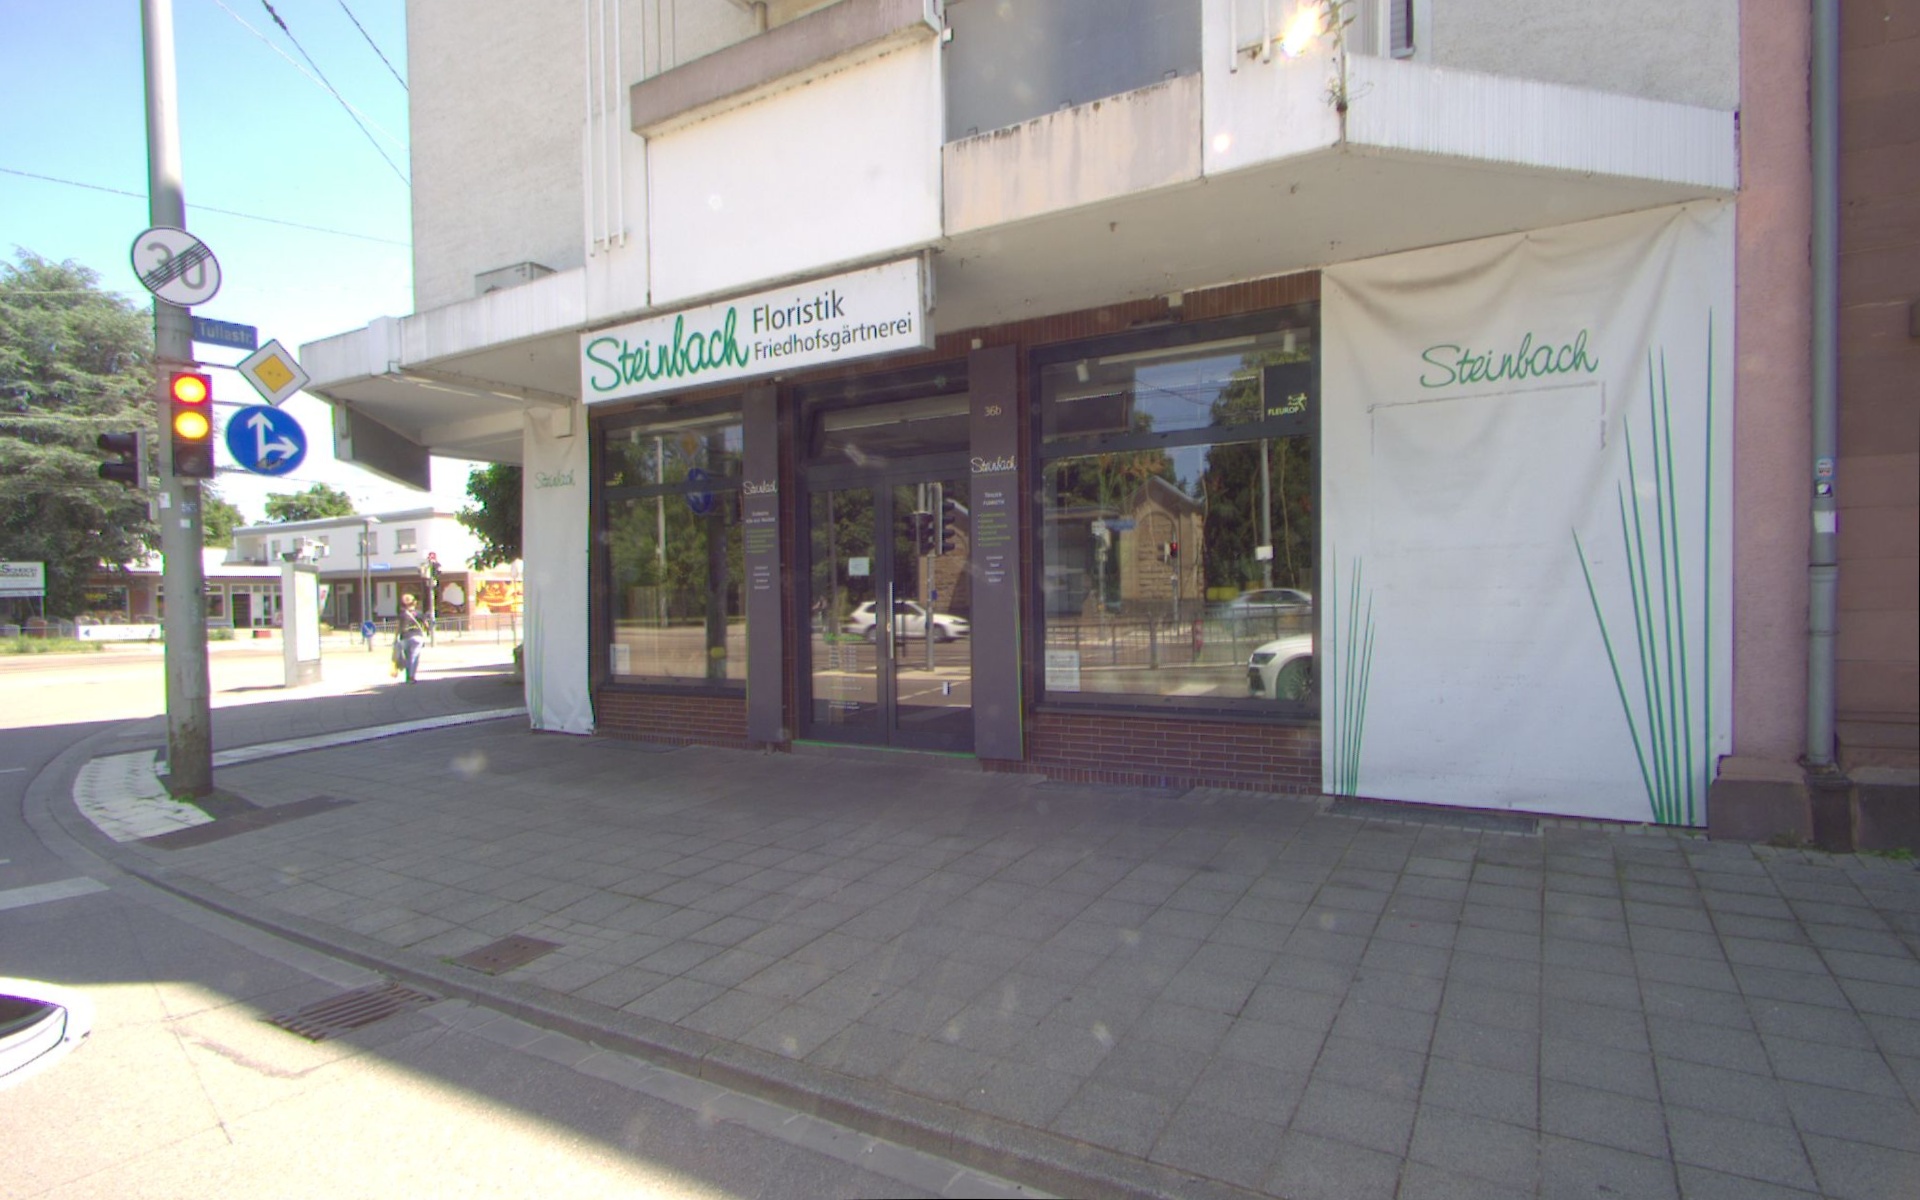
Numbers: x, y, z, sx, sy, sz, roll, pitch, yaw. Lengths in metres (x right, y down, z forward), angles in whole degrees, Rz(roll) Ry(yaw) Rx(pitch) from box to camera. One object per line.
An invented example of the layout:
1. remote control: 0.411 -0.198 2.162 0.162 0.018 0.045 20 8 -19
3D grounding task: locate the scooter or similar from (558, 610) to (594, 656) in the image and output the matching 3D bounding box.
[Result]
1. scooter or similar: -10.482 0.885 27.377 0.387 1.229 1.255 -1 0 5

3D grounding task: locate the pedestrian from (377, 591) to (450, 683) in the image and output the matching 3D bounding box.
1. pedestrian: -10.088 0.670 18.489 0.816 1.606 0.822 0 4 38
